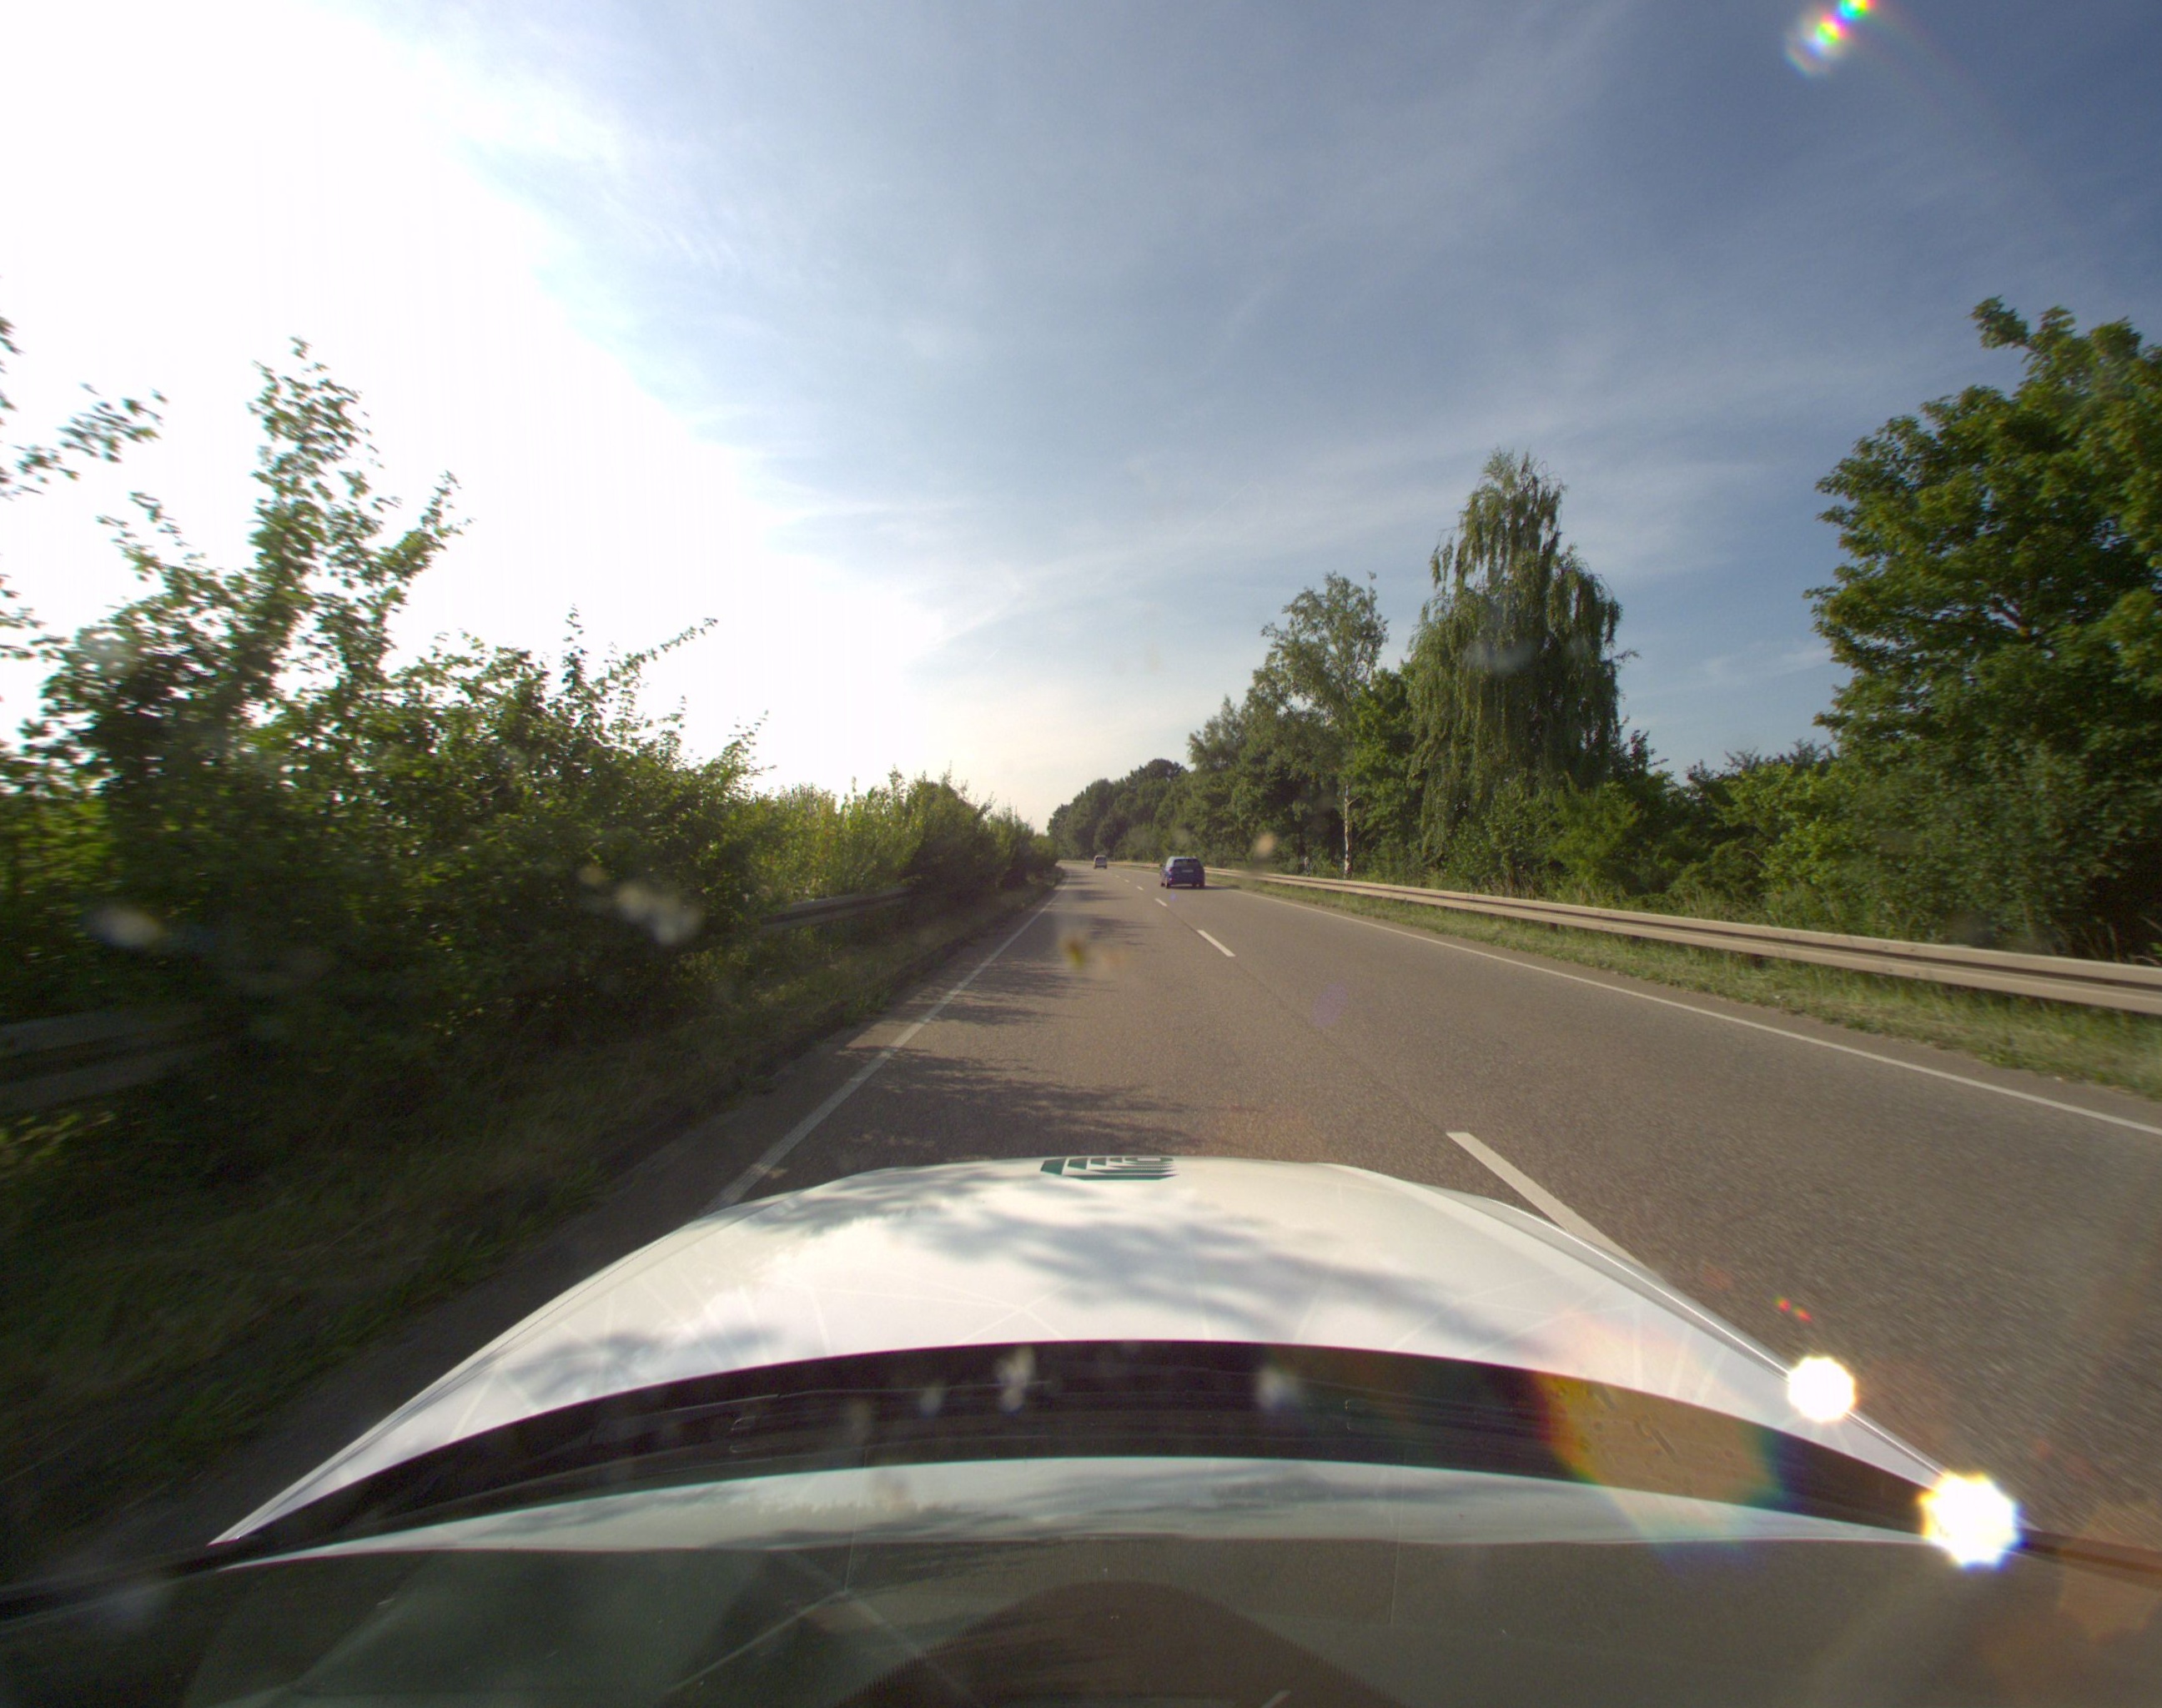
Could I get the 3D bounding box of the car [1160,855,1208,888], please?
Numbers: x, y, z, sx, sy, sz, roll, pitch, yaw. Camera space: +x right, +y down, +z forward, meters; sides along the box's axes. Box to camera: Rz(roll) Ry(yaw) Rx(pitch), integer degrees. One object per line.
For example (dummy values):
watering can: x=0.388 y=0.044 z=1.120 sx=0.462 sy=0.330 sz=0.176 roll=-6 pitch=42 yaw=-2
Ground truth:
car: x=4.712 y=0.783 z=37.784 sx=1.773 sy=1.451 sz=4.000 roll=-1 pitch=0 yaw=1

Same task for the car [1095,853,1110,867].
car: x=2.856 y=0.774 z=109.911 sx=1.761 sy=1.881 sz=3.996 roll=-1 pitch=0 yaw=-3
